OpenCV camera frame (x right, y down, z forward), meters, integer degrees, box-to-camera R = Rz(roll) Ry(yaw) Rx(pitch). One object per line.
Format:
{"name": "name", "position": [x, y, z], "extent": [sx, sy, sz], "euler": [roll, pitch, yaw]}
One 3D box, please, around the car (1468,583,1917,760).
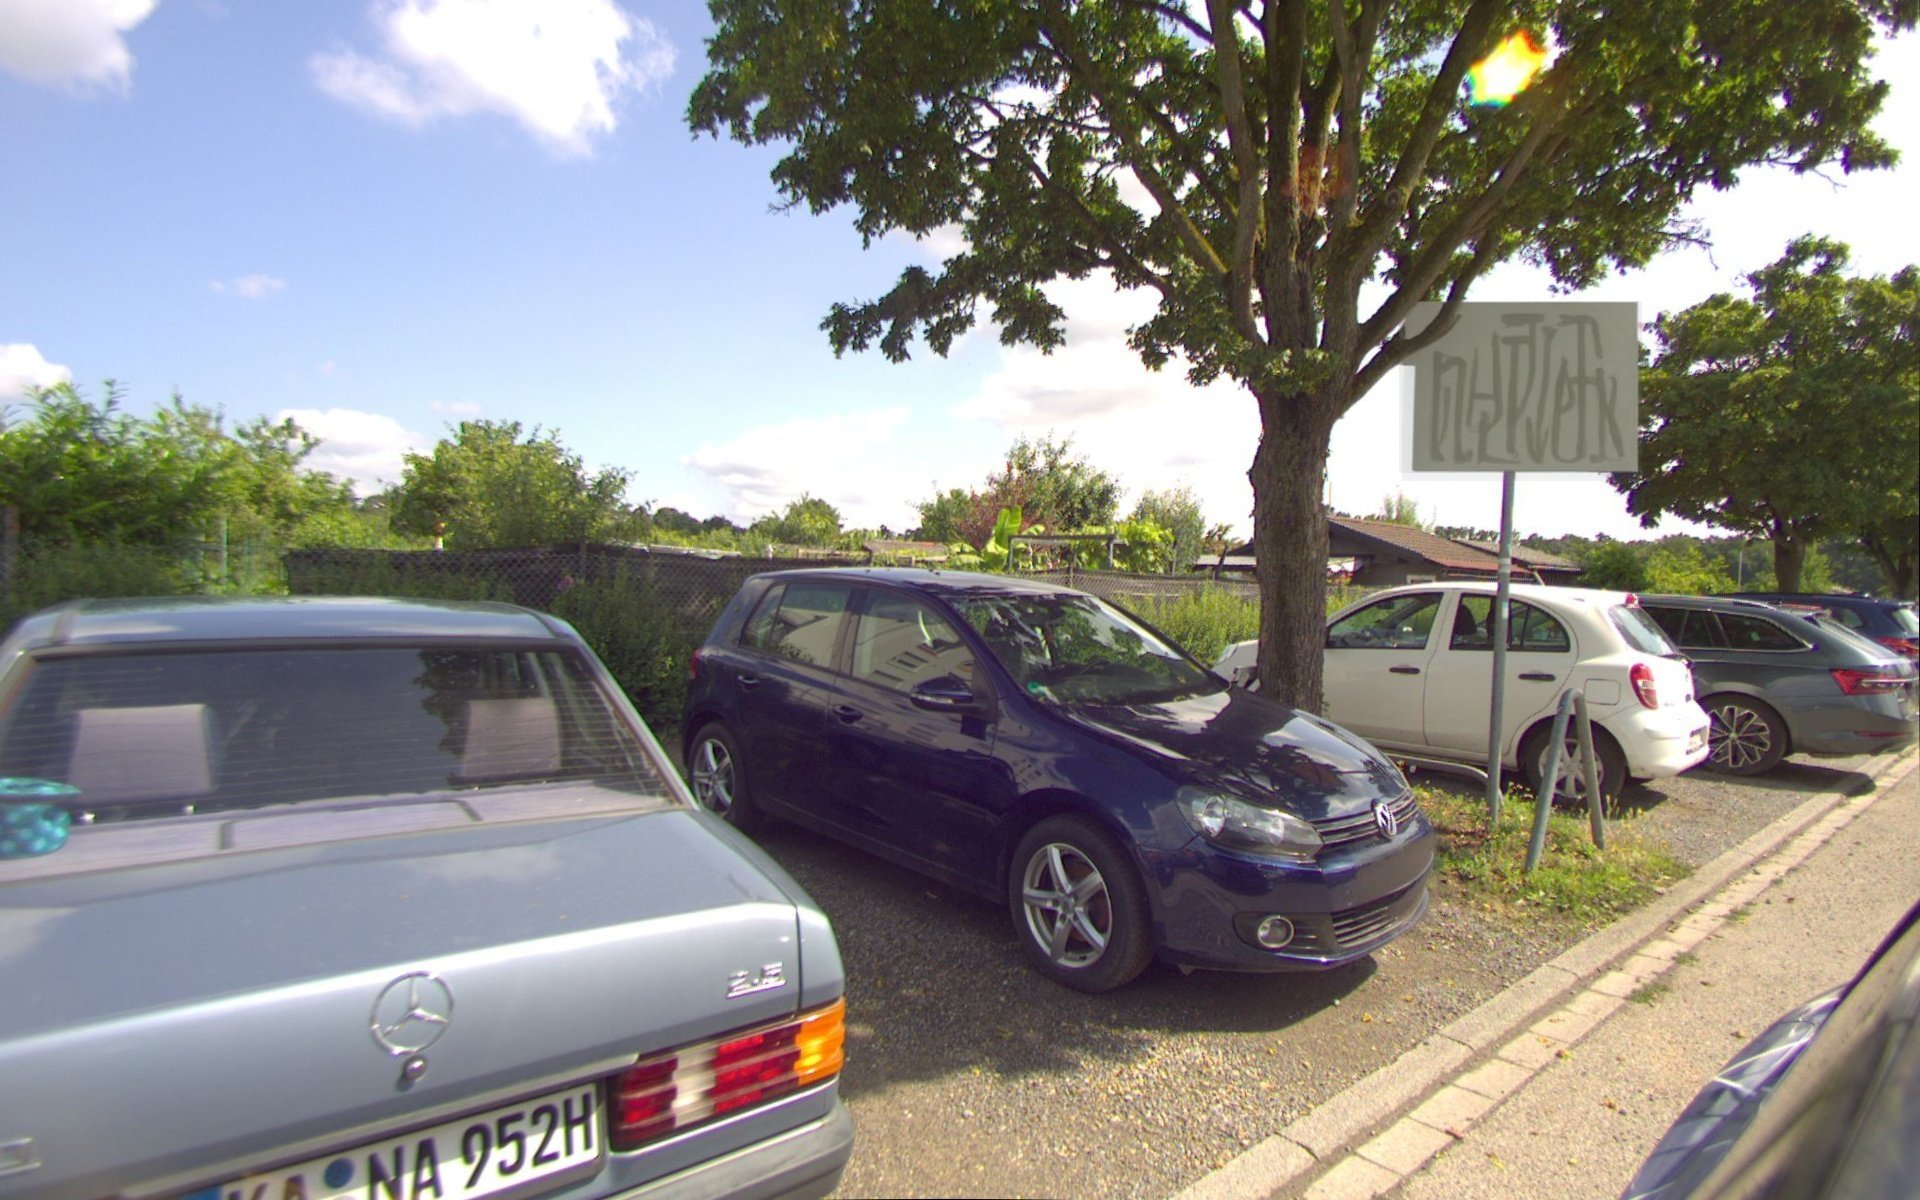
{"name": "car", "position": [8.155, 0.652, 11.547], "extent": [1.731, 1.551, 3.818], "euler": [1, 2, -40]}

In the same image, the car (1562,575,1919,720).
{"name": "car", "position": [11.165, 0.548, 14.301], "extent": [1.845, 1.657, 4.165], "euler": [1, 2, -39]}

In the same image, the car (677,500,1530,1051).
{"name": "car", "position": [0.351, 0.487, 5.002], "extent": [1.836, 1.579, 3.939], "euler": [1, 0, -42]}

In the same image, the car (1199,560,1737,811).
{"name": "car", "position": [3.926, 0.519, 8.216], "extent": [1.639, 1.569, 3.577], "euler": [1, 0, -43]}

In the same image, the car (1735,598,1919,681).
{"name": "car", "position": [19.046, 0.780, 21.089], "extent": [1.965, 1.614, 4.309], "euler": [1, 0, -41]}

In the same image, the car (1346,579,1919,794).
{"name": "car", "position": [6.310, 0.626, 9.731], "extent": [1.779, 1.598, 4.552], "euler": [1, 0, -44]}

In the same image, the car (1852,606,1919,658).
{"name": "car", "position": [28.879, 0.955, 29.577], "extent": [1.838, 1.474, 4.070], "euler": [1, 0, -42]}

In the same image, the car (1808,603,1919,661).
{"name": "car", "position": [26.044, 0.866, 27.658], "extent": [1.921, 1.530, 4.075], "euler": [1, 0, -37]}

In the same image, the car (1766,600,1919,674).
{"name": "car", "position": [20.836, 0.809, 22.997], "extent": [1.819, 1.559, 3.727], "euler": [1, 0, -43]}

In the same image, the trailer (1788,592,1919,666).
{"name": "trailer", "position": [22.487, 0.703, 25.438], "extent": [1.493, 1.742, 2.452], "euler": [2, -1, -44]}

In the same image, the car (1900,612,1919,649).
{"name": "car", "position": [39.283, 1.229, 39.101], "extent": [1.877, 1.446, 4.242], "euler": [1, 0, -44]}

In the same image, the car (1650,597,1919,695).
{"name": "car", "position": [14.869, 0.721, 17.655], "extent": [1.941, 1.511, 4.343], "euler": [1, 0, -41]}

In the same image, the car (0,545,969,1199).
{"name": "car", "position": [-1.962, 0.575, 3.013], "extent": [1.686, 1.409, 4.373], "euler": [1, 2, -36]}

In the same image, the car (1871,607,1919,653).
{"name": "car", "position": [33.618, 1.035, 34.167], "extent": [1.820, 1.539, 3.998], "euler": [1, 0, -37]}
